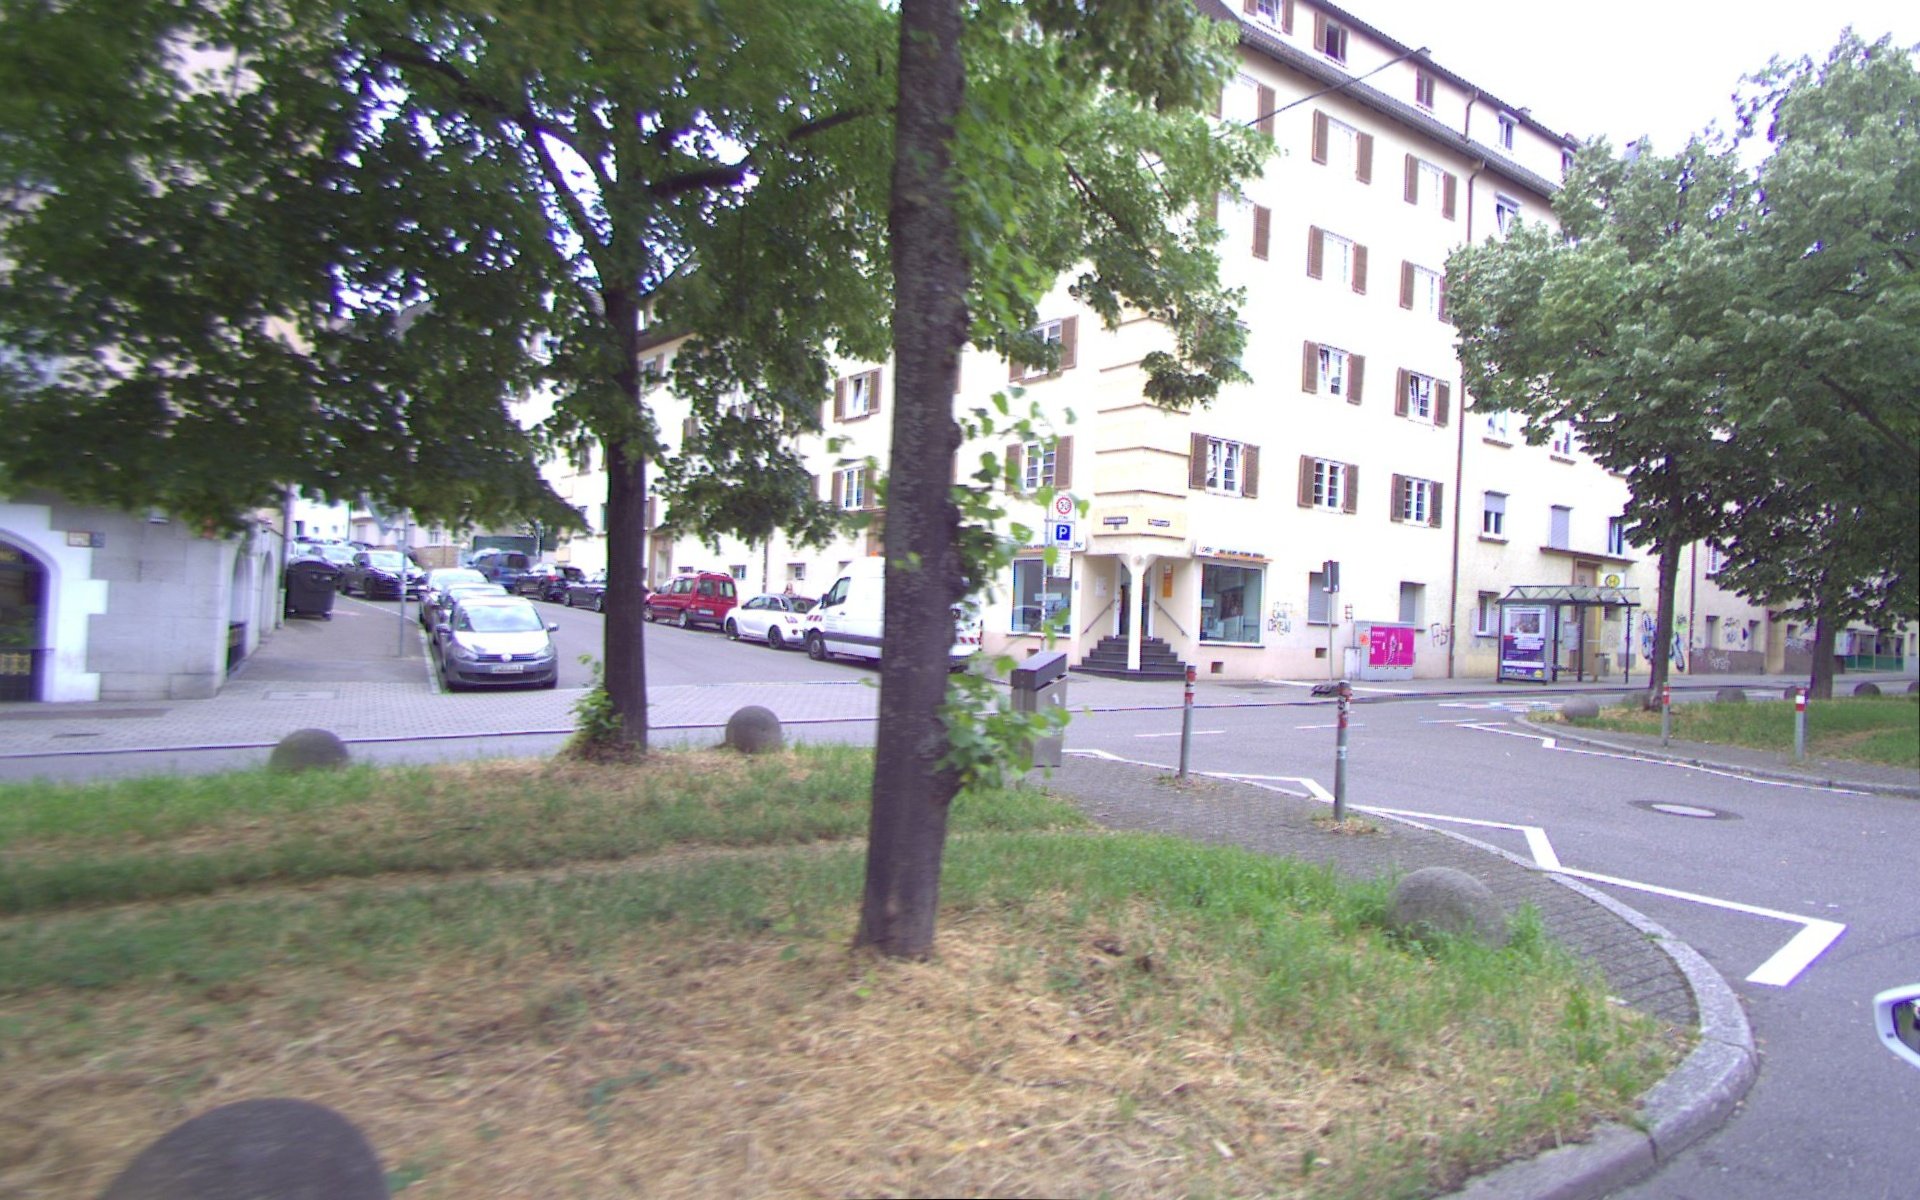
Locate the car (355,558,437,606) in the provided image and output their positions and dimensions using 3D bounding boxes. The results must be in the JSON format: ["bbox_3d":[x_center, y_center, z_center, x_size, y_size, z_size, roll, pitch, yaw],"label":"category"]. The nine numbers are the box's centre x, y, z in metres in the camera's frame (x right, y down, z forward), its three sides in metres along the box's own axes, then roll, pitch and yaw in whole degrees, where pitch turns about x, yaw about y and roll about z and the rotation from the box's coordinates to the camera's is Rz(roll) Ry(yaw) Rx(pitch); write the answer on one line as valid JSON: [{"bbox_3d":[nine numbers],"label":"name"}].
[{"bbox_3d":[-19.199,-0.621,34.126,1.981,1.461,3.959,2,1,-36],"label":"car"}]

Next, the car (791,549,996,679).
[{"bbox_3d":[-1.714,0.274,24.104,2.161,2.773,5.125,2,0,-42],"label":"car"}]

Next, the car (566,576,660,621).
[{"bbox_3d":[-12.696,-0.079,36.659,1.983,1.483,3.954,2,0,-39],"label":"car"}]

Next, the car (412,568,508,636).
[{"bbox_3d":[-13.370,0.005,26.748,1.883,1.439,4.007,2,3,-32],"label":"car"}]

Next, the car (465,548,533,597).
[{"bbox_3d":[-20.719,-1.225,45.076,1.981,2.040,3.958,2,0,-36],"label":"car"}]

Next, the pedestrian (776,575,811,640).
[{"bbox_3d":[-5.291,0.247,31.958,0.809,2.040,0.807,2,0,-31],"label":"pedestrian"}]

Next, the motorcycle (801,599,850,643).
[{"bbox_3d":[-4.339,0.665,32.365,0.678,1.351,1.844,2,0,-39],"label":"motorcycle"}]

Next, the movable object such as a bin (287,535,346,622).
[{"bbox_3d":[-15.978,-0.510,25.004,1.081,2.040,1.984,2,0,-30],"label":"movable object such as a bin"}]

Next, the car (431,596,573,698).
[{"bbox_3d":[-8.397,0.755,18.213,2.023,1.439,4.269,1,2,-29],"label":"car"}]

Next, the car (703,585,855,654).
[{"bbox_3d":[-5.200,0.521,28.386,1.986,1.658,4.711,2,1,-43],"label":"car"}]

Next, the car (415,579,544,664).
[{"bbox_3d":[-10.713,0.426,22.260,1.980,1.439,3.961,2,4,-34],"label":"car"}]

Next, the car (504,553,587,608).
[{"bbox_3d":[-16.726,-0.767,40.466,1.983,2.040,3.954,2,0,-39],"label":"car"}]

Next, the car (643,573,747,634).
[{"bbox_3d":[-8.661,0.077,32.635,1.792,1.847,3.954,2,0,-39],"label":"car"}]
